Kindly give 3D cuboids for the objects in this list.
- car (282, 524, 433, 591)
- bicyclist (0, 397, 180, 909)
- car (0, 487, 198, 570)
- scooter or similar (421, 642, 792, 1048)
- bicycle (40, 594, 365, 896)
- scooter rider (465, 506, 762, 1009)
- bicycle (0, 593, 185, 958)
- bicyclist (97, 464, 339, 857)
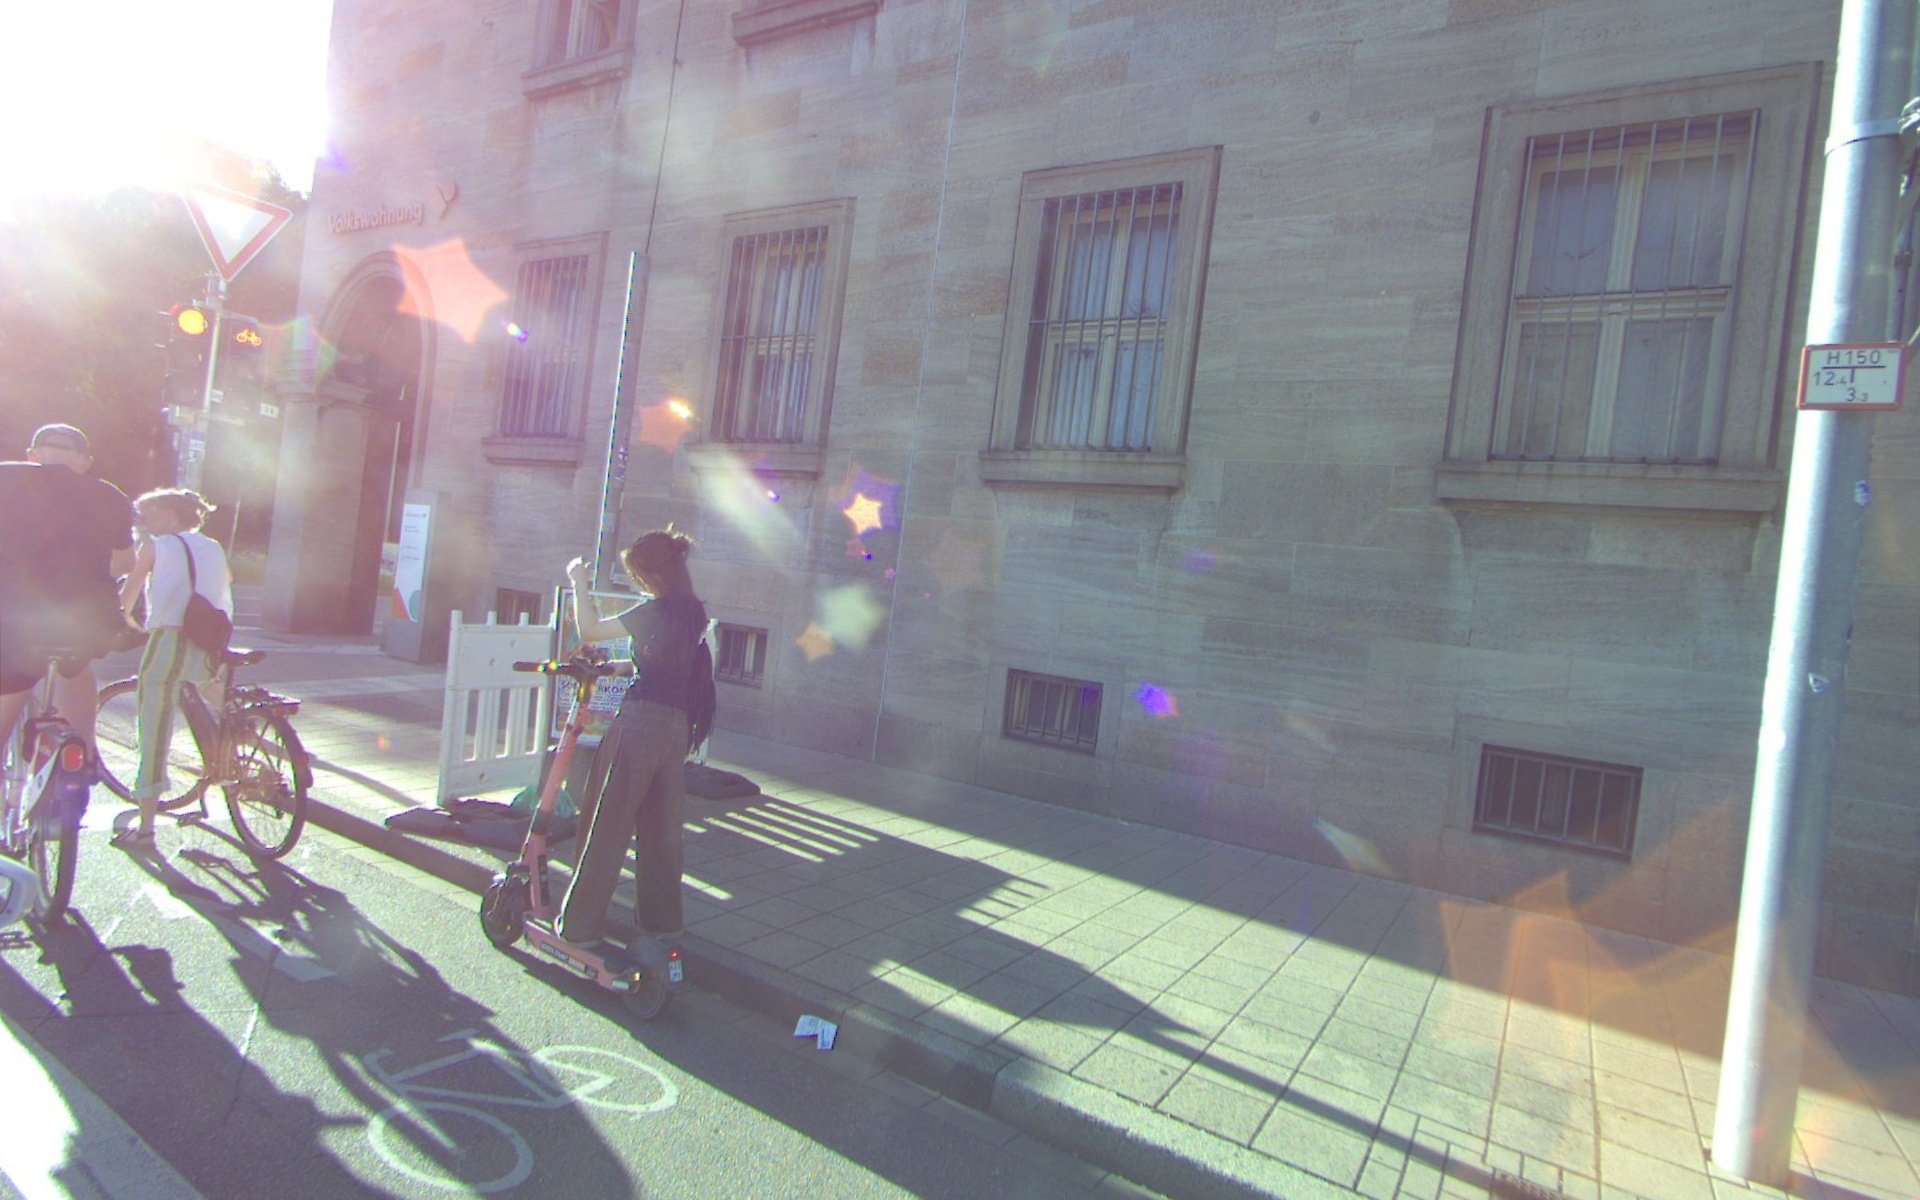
[{"bbox_3d":[-19.688,-1.362,33.021,1.623,1.630,3.854,7,-1,31],"label":"car"},{"bbox_3d":[-3.545,0.195,3.853,0.541,1.820,0.559,7,-1,33],"label":"bicyclist"},{"bbox_3d":[-23.368,-1.892,27.195,1.622,1.630,3.999,7,-1,31],"label":"car"},{"bbox_3d":[-1.395,0.851,3.908,1.305,1.199,0.535,7,0,31],"label":"scooter or similar"},{"bbox_3d":[-3.678,0.623,4.841,1.721,1.090,0.535,7,-1,31],"label":"bicycle"},{"bbox_3d":[-1.309,0.553,3.870,0.547,1.691,0.730,7,0,31],"label":"scooter rider"},{"bbox_3d":[-3.734,0.576,3.924,1.700,1.090,0.516,7,-1,34],"label":"bicycle"},{"bbox_3d":[-3.532,0.268,4.803,0.629,1.711,0.558,7,-1,30],"label":"bicyclist"}]
